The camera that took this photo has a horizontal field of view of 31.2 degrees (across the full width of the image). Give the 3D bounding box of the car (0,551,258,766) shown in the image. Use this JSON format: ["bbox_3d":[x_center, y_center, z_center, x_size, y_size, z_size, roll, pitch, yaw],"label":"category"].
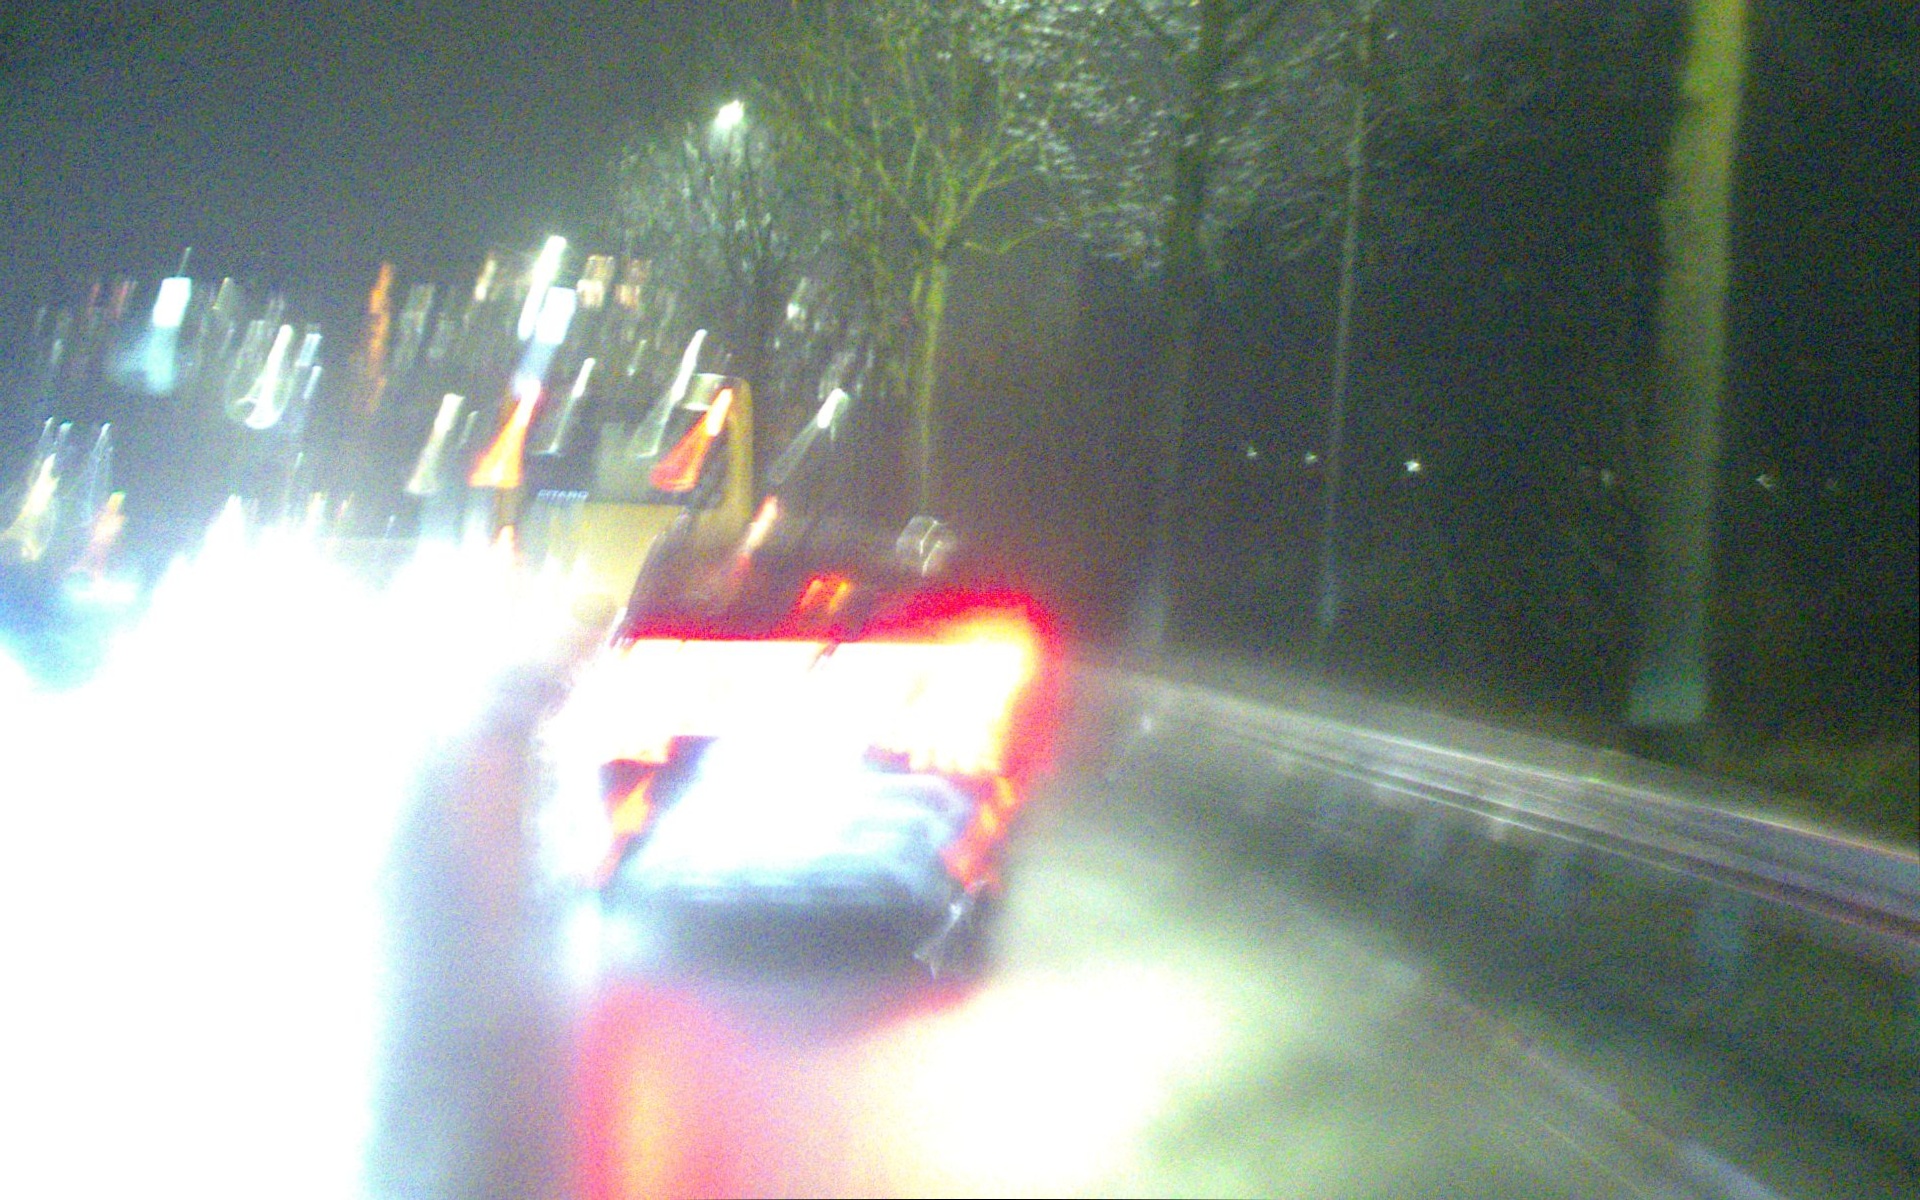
[{"bbox_3d":[-6.119,0.379,24.463,1.792,1.387,4.592,0,0,-6],"label":"car"}]

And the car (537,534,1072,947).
[{"bbox_3d":[-0.646,0.501,15.106,1.993,1.519,4.000,2,1,-2],"label":"car"}]

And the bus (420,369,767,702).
[{"bbox_3d":[-4.245,-0.669,37.856,3.042,3.201,9.053,1,1,-11],"label":"bus"}]

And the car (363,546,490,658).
[{"bbox_3d":[-12.355,0.019,79.277,2.697,2.469,5.307,1,1,-11],"label":"car"}]
